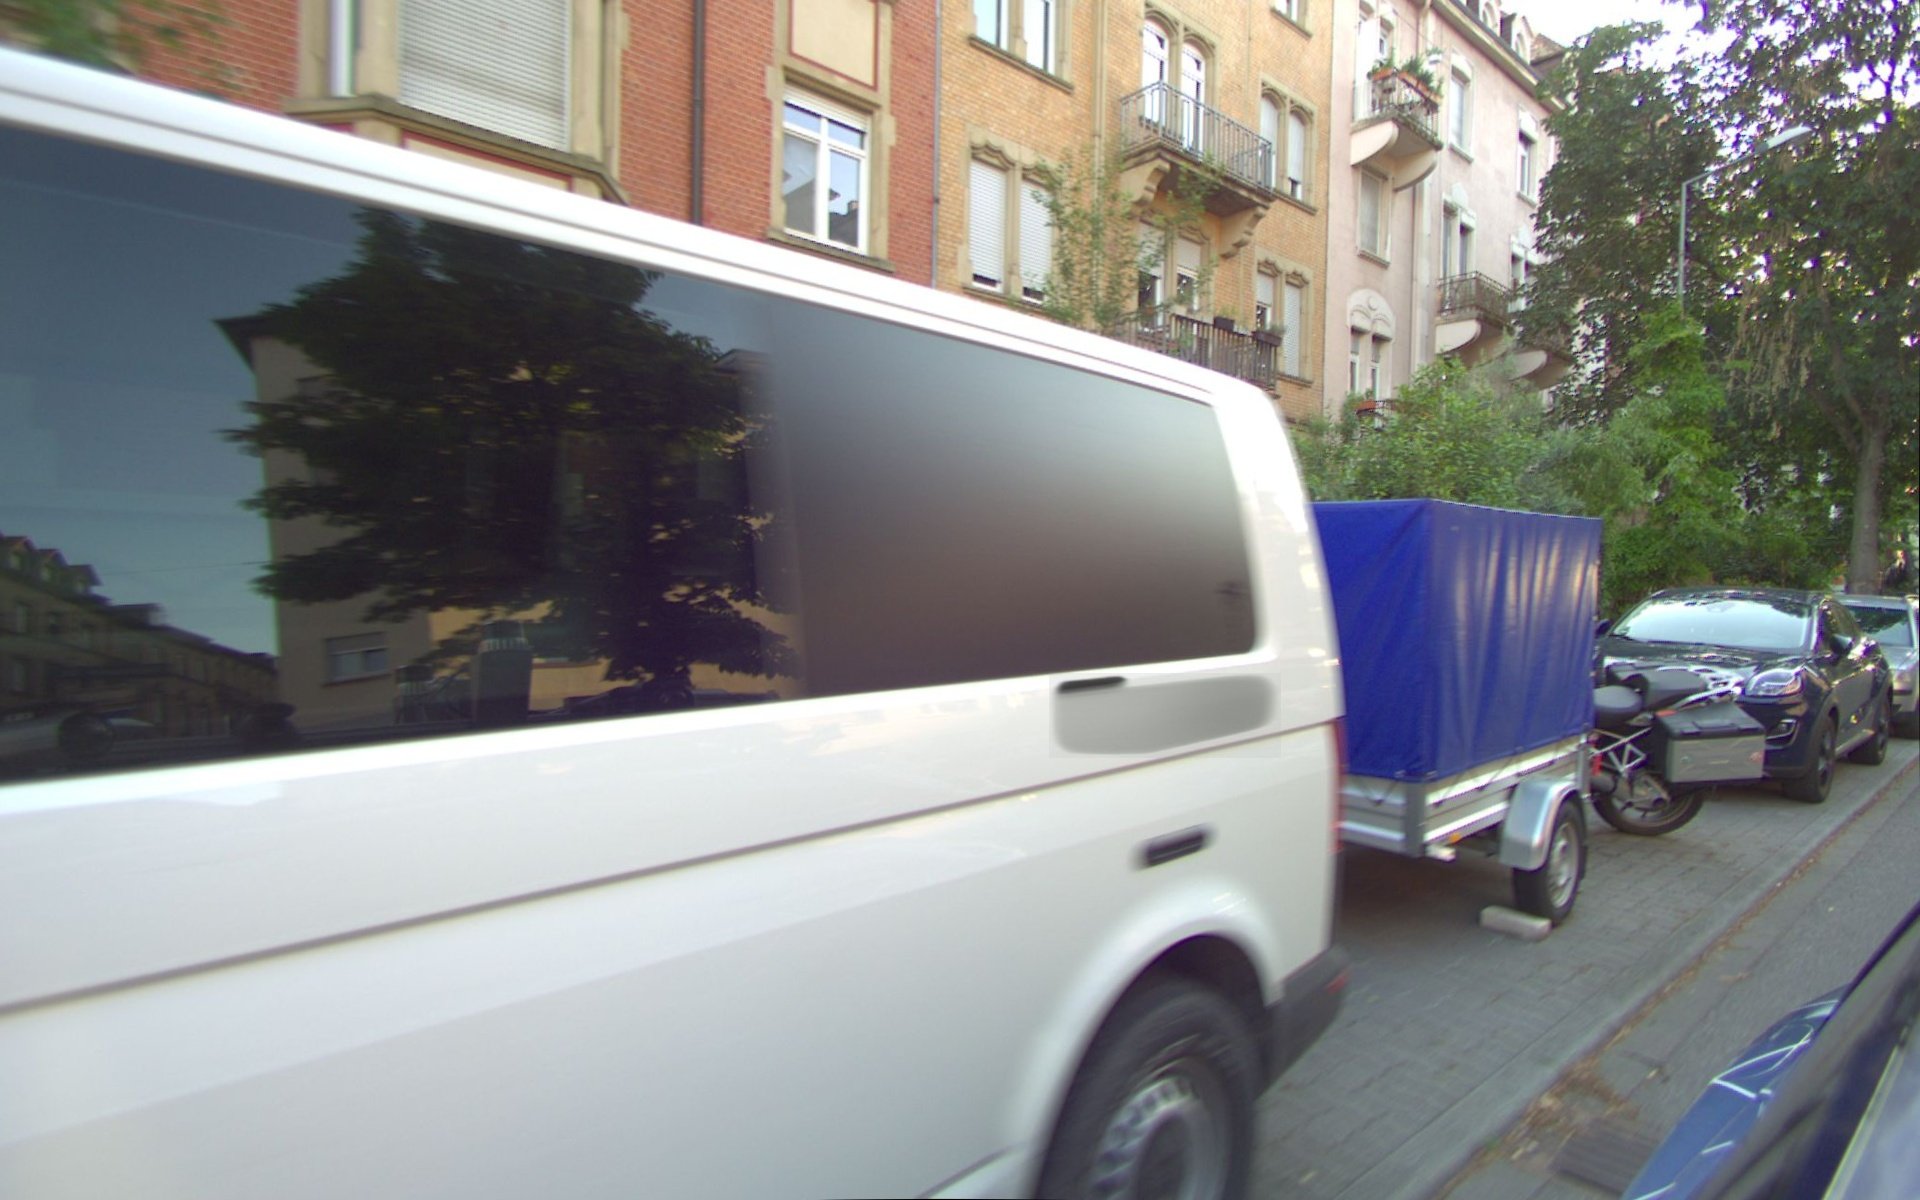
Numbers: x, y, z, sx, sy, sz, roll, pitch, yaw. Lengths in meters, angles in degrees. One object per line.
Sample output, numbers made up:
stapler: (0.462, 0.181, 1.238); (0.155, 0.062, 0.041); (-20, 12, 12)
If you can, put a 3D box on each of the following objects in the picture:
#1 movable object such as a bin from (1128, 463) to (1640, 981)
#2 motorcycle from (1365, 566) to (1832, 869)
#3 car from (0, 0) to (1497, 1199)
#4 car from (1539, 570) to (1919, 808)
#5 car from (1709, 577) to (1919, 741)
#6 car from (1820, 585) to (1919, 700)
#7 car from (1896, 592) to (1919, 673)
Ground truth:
movable object such as a bin: (2.139, 0.403, 4.989); (2.285, 1.900, 1.415); (0, 3, -41)
motorcycle: (3.647, 0.585, 6.097); (2.066, 1.500, 1.128); (3, 2, 16)
car: (-1.295, 0.348, 1.476); (5.450, 2.063, 1.865); (0, 3, -42)
car: (6.779, 0.560, 8.686); (4.247, 1.570, 1.724); (0, 1, -39)
car: (10.709, 0.558, 12.032); (4.754, 1.602, 1.760); (0, 0, -39)
car: (14.091, 0.559, 14.875); (3.537, 1.544, 1.590); (0, 0, -39)
car: (19.882, 0.607, 19.990); (4.094, 1.525, 1.734); (0, 1, -43)
